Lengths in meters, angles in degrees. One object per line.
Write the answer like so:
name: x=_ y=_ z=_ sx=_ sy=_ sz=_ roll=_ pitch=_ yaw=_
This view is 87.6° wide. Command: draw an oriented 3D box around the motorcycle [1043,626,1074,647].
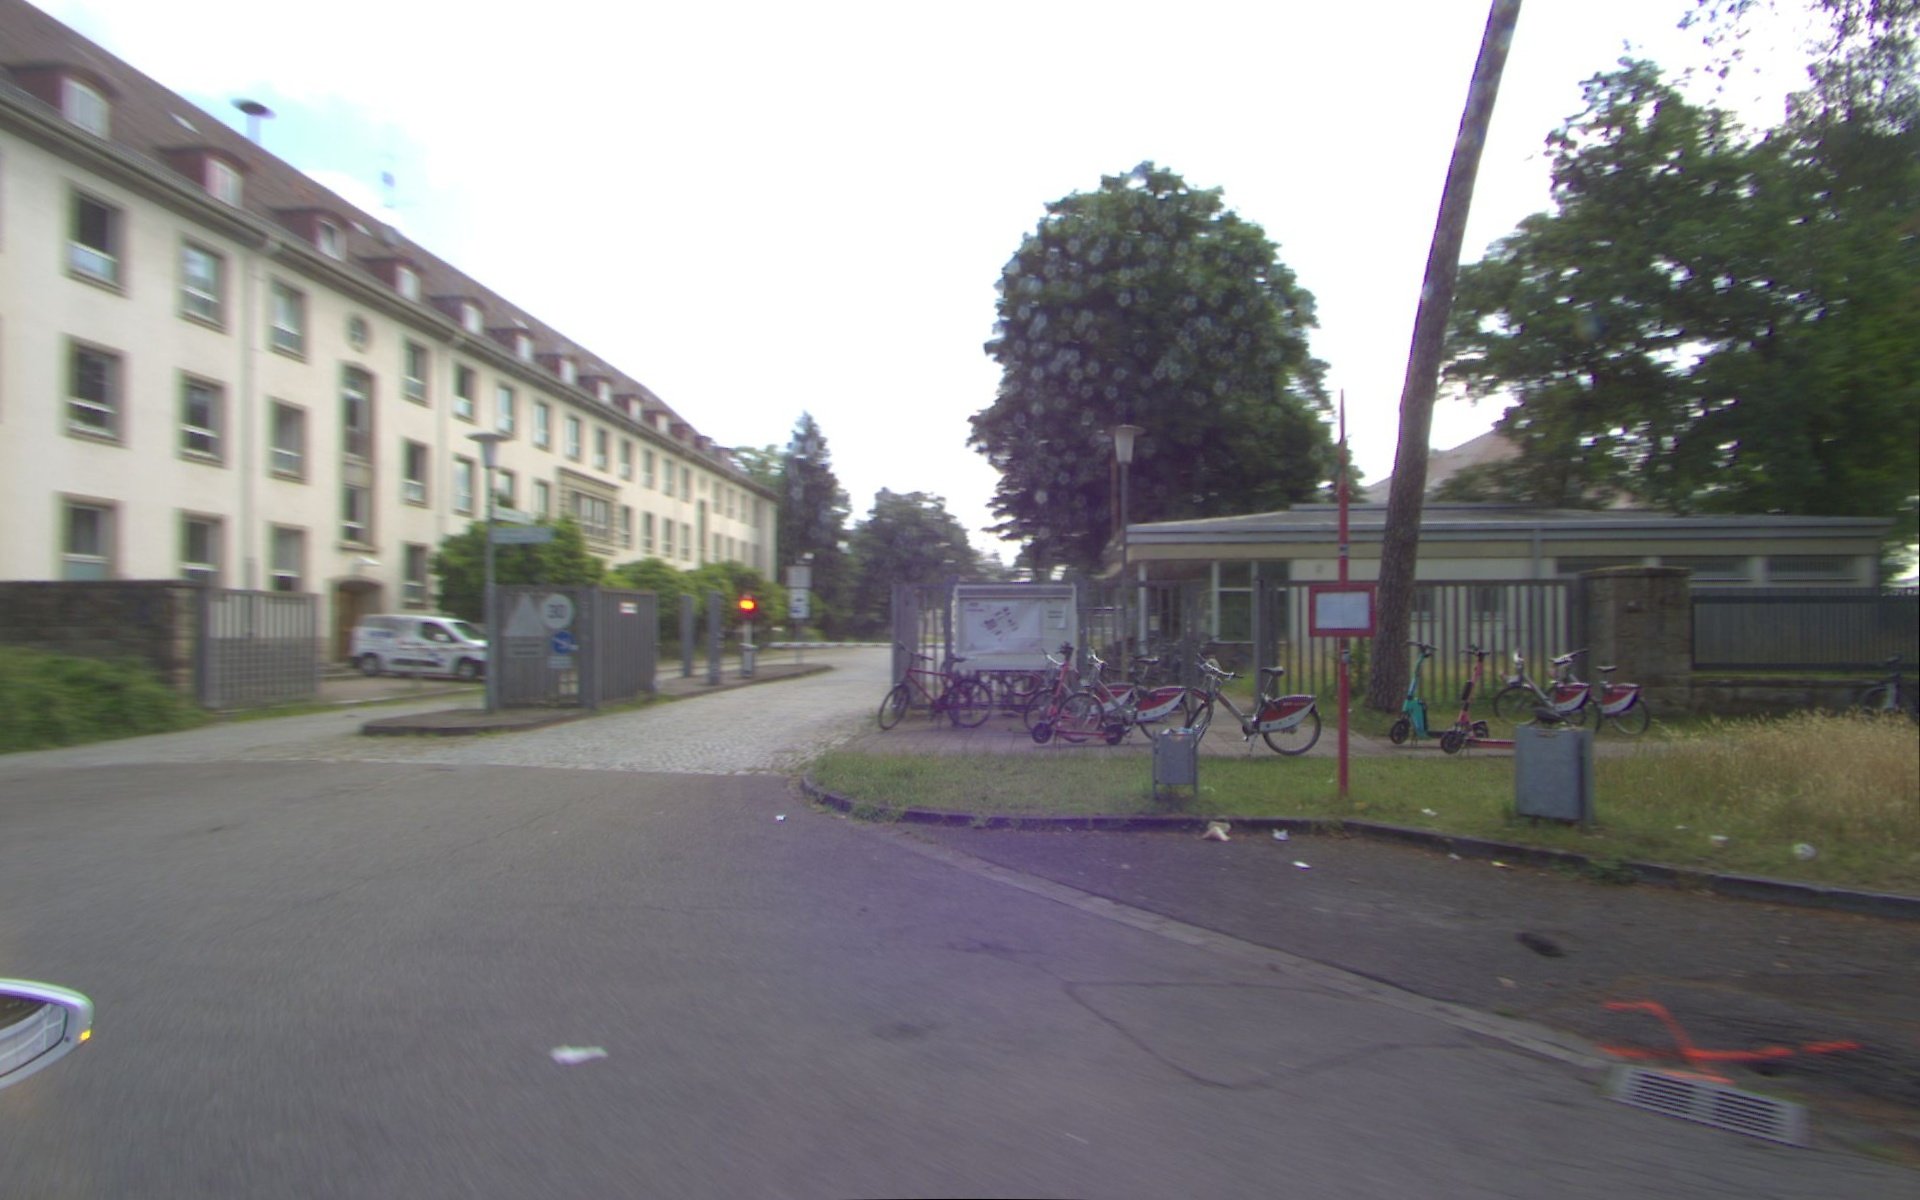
motorcycle: x=6.273 y=2.317 z=63.776 sx=1.925 sy=1.212 sz=0.461 roll=-2 pitch=4 yaw=3

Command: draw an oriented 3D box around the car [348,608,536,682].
car: x=-14.864 y=1.269 z=28.905 sx=4.364 sy=1.773 sz=1.859 roll=4 pitch=-1 yaw=1

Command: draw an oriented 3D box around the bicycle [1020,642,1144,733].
bicycle: x=1.674 y=1.178 z=13.693 sx=1.581 sy=1.178 sz=0.622 roll=-1 pitch=0 yaw=16

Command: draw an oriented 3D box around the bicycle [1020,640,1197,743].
bicycle: x=1.844 y=1.138 z=12.604 sx=2.132 sy=1.256 sz=0.636 roll=0 pitch=-2 yaw=0

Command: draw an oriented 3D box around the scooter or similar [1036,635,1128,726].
scooter or similar: x=1.737 y=1.135 z=14.272 sx=1.260 sy=1.262 sz=0.386 roll=-1 pitch=-1 yaw=12

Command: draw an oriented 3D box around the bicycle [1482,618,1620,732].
bicycle: x=7.988 y=0.968 z=13.628 sx=0.578 sy=1.436 sz=1.797 roll=0 pitch=0 yaw=-10

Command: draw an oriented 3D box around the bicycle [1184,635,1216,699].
bicycle: x=5.610 y=1.585 z=23.482 sx=0.428 sy=1.090 sz=1.607 roll=-1 pitch=-19 yaw=4

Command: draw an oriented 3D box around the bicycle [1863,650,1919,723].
bicycle: x=14.277 y=1.249 z=14.516 sx=1.915 sy=1.029 sz=0.373 roll=0 pitch=-1 yaw=5

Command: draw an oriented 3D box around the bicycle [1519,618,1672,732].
bicycle: x=8.593 y=0.965 z=13.643 sx=0.567 sy=1.435 sz=1.981 roll=0 pitch=-1 yaw=-10

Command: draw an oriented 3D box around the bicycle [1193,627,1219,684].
bicycle: x=5.336 y=1.217 z=21.715 sx=0.428 sy=1.185 sz=1.723 roll=-1 pitch=-4 yaw=17

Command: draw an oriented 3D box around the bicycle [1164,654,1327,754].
bicycle: x=3.221 y=1.172 z=11.428 sx=1.650 sy=1.098 sz=0.741 roll=-1 pitch=-2 yaw=3

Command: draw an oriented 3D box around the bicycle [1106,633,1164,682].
bicycle: x=4.351 y=1.436 z=24.888 sx=1.368 sy=1.185 sz=0.436 roll=-1 pitch=-3 yaw=5

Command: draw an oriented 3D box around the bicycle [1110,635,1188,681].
bicycle: x=4.931 y=1.510 z=26.168 sx=1.917 sy=1.185 sz=0.486 roll=0 pitch=-3 yaw=-1

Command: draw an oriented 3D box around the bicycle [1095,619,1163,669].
bicycle: x=4.135 y=1.073 z=24.463 sx=1.626 sy=1.185 sz=0.435 roll=0 pitch=-3 yaw=-23

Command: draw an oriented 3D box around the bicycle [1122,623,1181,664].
bicycle: x=5.576 y=1.268 z=29.161 sx=1.675 sy=1.174 sz=0.401 roll=0 pitch=-3 yaw=-15

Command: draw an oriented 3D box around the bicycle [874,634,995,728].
bicycle: x=-0.360 y=1.160 z=14.592 sx=1.706 sy=1.294 sz=0.673 roll=-1 pitch=-1 yaw=1

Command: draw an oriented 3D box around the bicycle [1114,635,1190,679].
bicycle: x=5.275 y=1.558 z=27.523 sx=1.983 sy=1.185 sz=0.401 roll=0 pitch=-3 yaw=-6

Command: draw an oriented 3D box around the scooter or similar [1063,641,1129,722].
scooter or similar: x=2.065 y=1.222 z=15.338 sx=0.431 sy=1.165 sz=1.248 roll=0 pitch=-1 yaw=-22

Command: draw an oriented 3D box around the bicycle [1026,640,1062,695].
bicycle: x=1.760 y=1.398 z=21.023 sx=0.718 sy=1.070 sz=1.595 roll=-1 pitch=-1 yaw=5

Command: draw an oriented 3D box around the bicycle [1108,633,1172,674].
bicycle: x=5.330 y=1.581 z=29.740 sx=1.771 sy=1.185 sz=0.584 roll=0 pitch=-3 yaw=-7

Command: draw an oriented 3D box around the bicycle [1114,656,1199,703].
bicycle: x=4.985 y=2.021 z=25.476 sx=2.037 sy=1.185 sz=0.486 roll=-1 pitch=-3 yaw=4

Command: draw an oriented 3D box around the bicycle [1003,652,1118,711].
bicycle: x=1.697 y=1.376 z=17.007 sx=1.914 sy=0.980 sz=0.457 roll=0 pitch=-1 yaw=6

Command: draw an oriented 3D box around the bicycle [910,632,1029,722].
bicycle: x=0.159 y=1.250 z=16.393 sx=1.870 sy=1.435 sz=0.516 roll=-1 pitch=-2 yaw=10

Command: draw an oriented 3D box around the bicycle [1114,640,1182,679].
bicycle: x=5.069 y=1.614 z=27.038 sx=1.741 sy=1.044 sz=0.354 roll=0 pitch=-3 yaw=-2

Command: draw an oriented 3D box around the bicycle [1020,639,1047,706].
bicycle: x=1.425 y=1.369 z=19.400 sx=0.493 sy=1.186 sz=1.716 roll=-1 pitch=0 yaw=5

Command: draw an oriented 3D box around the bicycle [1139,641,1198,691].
bicycle: x=4.930 y=1.556 z=23.602 sx=1.635 sy=1.133 sz=0.433 roll=3 pitch=-4 yaw=-40

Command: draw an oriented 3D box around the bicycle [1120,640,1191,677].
bicycle: x=5.565 y=1.660 z=28.545 sx=1.947 sy=1.041 sz=0.401 roll=0 pitch=-3 yaw=-6

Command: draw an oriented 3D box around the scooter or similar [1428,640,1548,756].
scooter or similar: x=5.916 y=1.088 z=11.242 sx=1.069 sy=1.243 sz=0.439 roll=-2 pitch=-2 yaw=0
